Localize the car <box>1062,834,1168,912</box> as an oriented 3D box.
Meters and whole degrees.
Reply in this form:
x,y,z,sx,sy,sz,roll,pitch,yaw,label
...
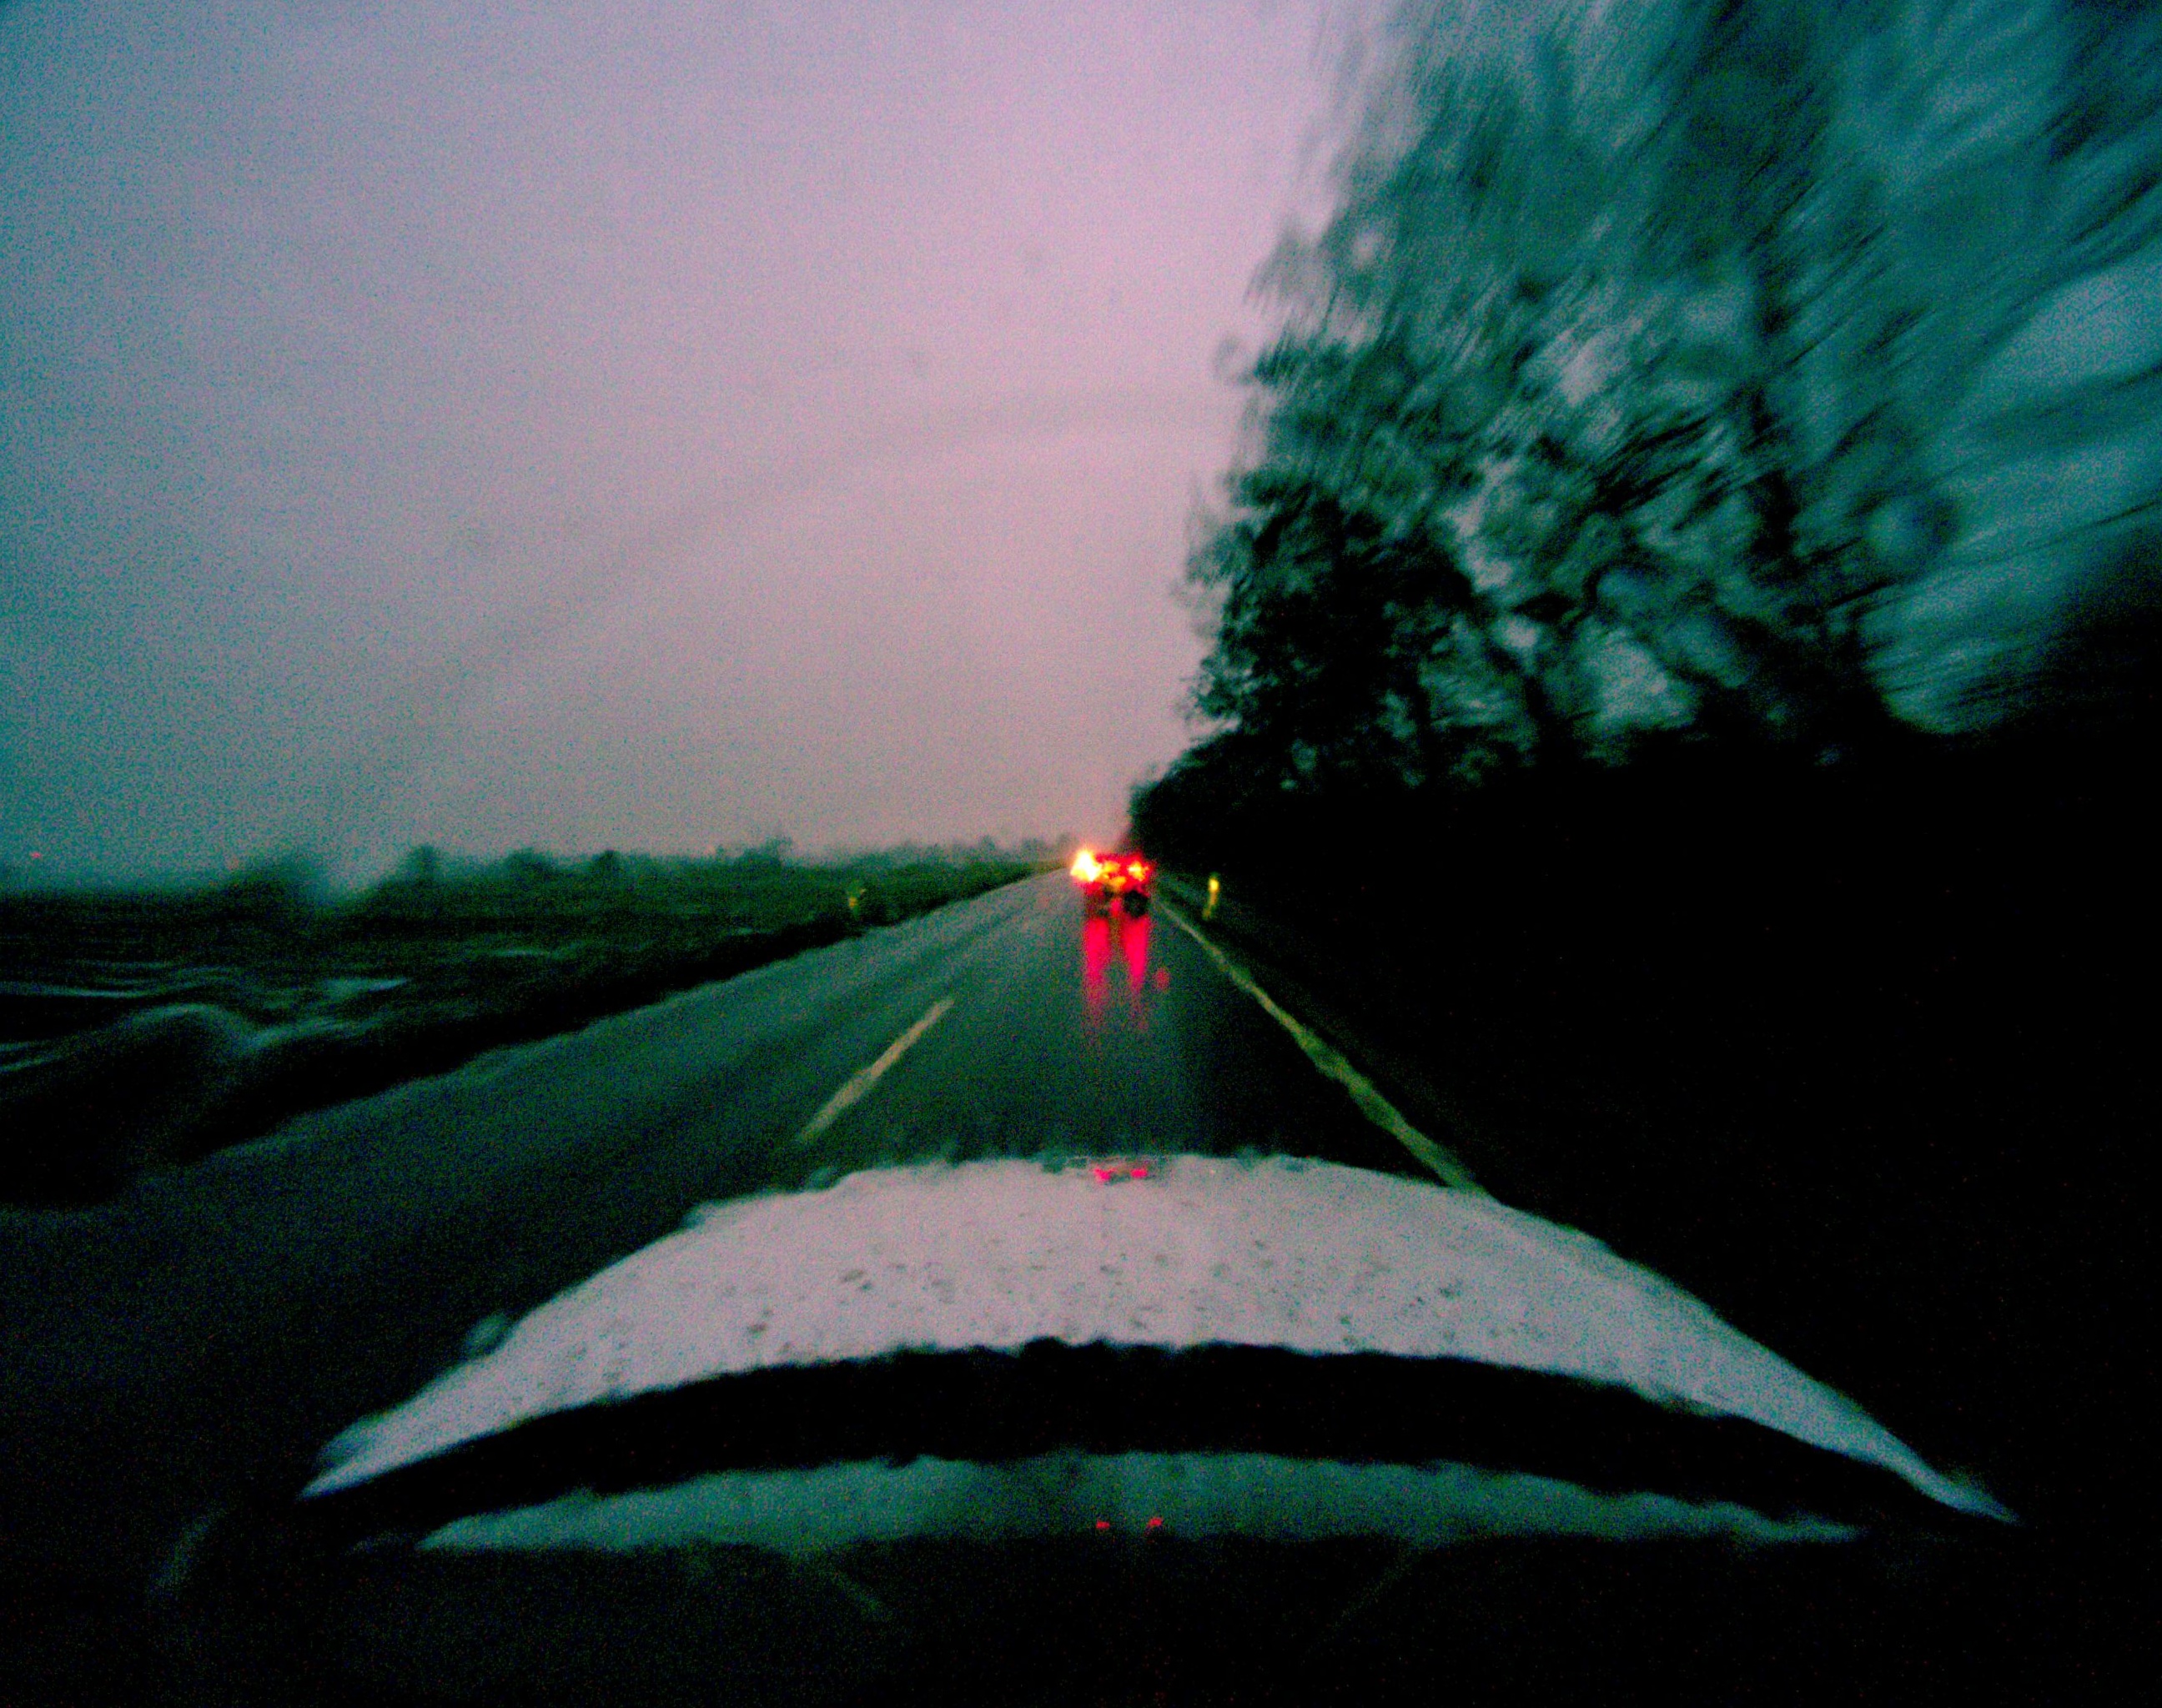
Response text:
x,y,z,sx,sy,sz,roll,pitch,yaw,label
1.039,0.519,24.717,2.809,2.077,5.808,0,0,2,car

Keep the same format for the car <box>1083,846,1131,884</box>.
x,y,z,sx,sy,sz,roll,pitch,yaw,label
1.564,0.613,47.238,2.581,2.014,5.808,0,0,2,car
